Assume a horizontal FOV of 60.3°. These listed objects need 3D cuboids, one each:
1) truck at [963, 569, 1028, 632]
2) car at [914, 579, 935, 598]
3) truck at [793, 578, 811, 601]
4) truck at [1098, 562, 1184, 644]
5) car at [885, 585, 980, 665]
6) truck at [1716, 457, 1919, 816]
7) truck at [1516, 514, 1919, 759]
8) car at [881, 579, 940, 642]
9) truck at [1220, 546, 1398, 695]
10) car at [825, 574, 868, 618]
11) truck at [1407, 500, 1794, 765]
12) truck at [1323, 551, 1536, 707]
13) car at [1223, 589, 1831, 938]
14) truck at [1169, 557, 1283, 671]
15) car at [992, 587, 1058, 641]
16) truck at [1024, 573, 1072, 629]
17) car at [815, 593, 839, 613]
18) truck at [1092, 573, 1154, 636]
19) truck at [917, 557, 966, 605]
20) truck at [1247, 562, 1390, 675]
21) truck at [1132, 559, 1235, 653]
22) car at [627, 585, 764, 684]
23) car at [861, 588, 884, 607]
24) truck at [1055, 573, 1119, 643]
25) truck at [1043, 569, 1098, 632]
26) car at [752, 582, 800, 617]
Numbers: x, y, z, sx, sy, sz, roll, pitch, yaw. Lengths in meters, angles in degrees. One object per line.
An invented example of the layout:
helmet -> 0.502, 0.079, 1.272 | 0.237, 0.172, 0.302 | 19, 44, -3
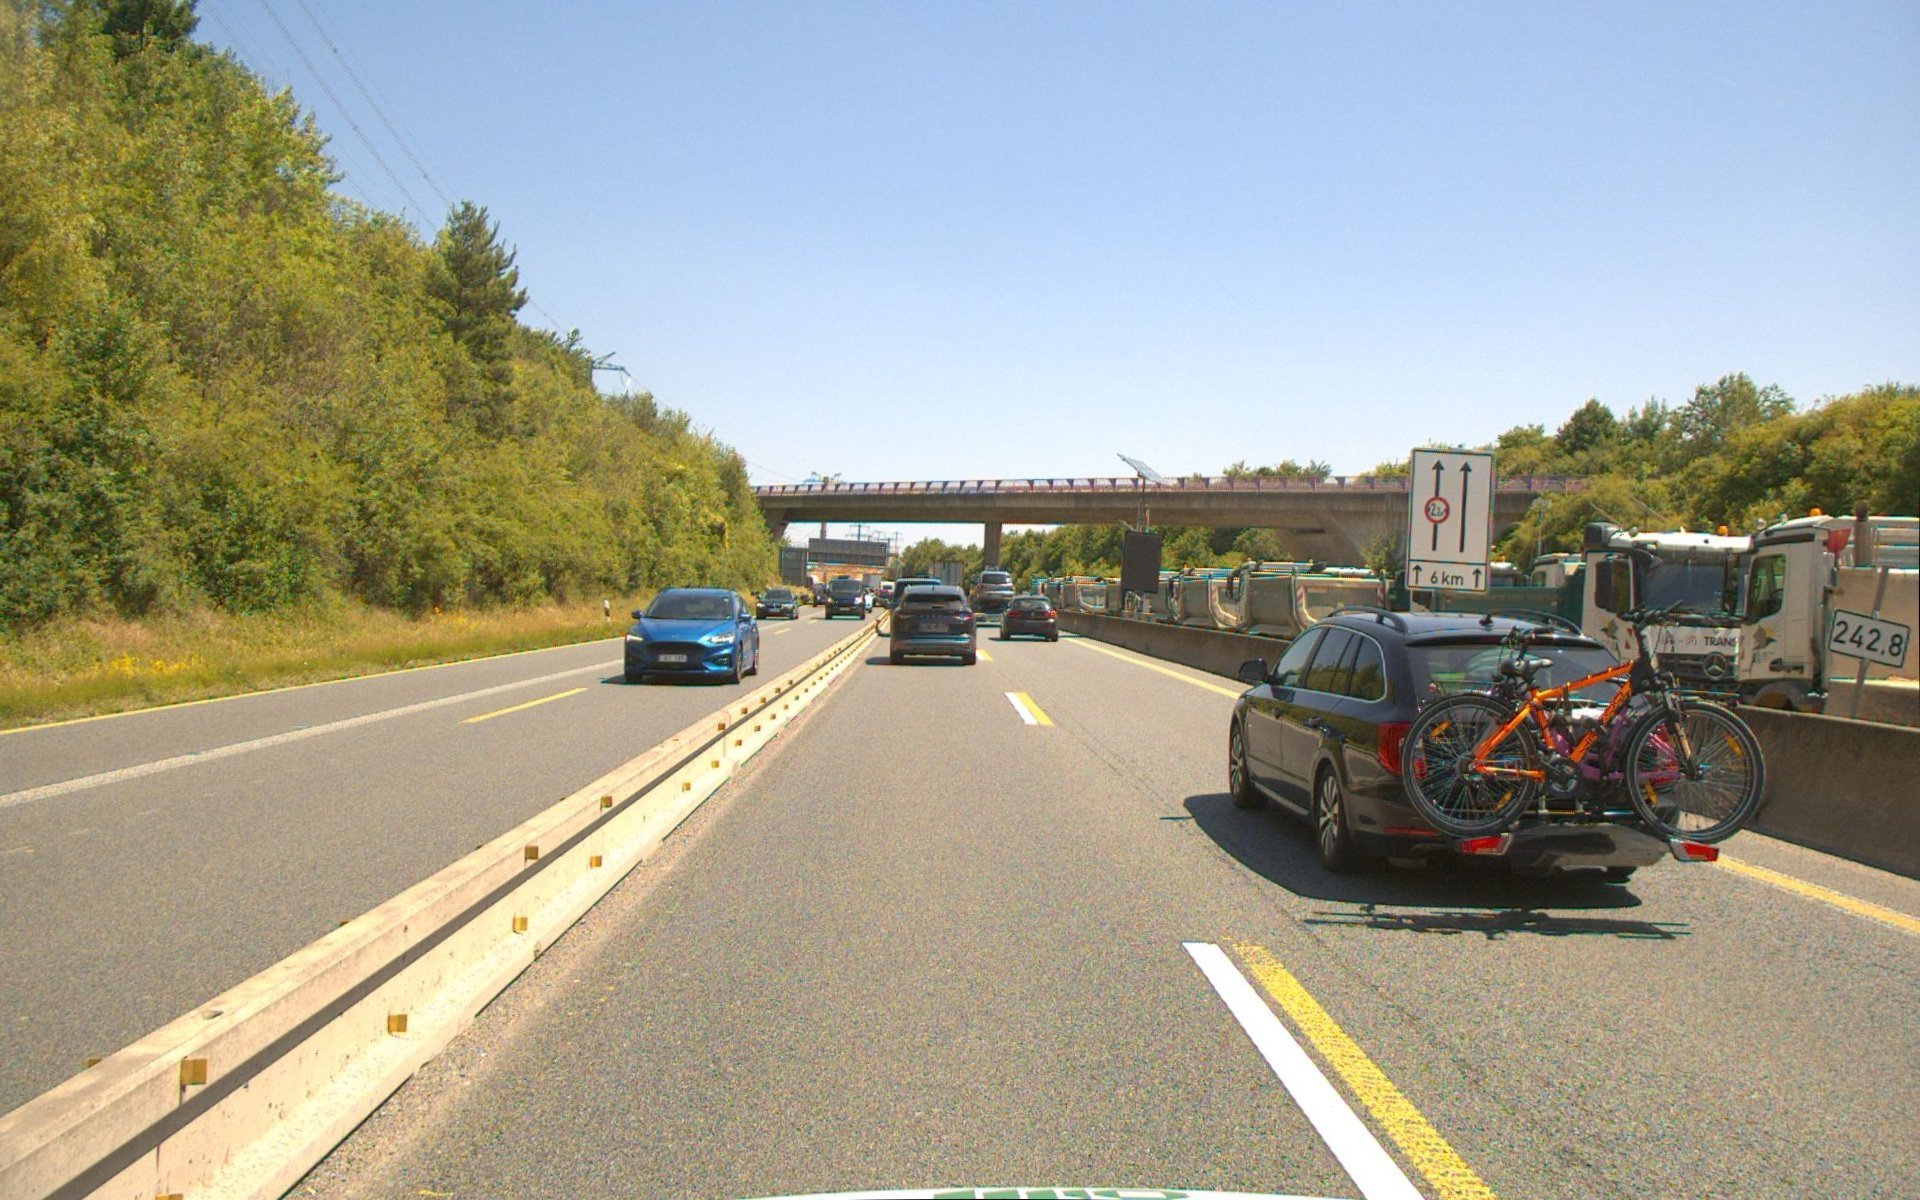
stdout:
truck -> 1.528, -0.023, 74.464 | 2.357, 2.603, 7.496 | 1, 1, -2
car -> -3.851, -1.270, 178.536 | 1.862, 2.003, 4.271 | 1, 0, -6
truck -> -23.471, -1.545, 245.729 | 2.460, 3.242, 10.096 | 1, 0, -6
truck -> 8.508, 0.100, 78.871 | 2.633, 3.619, 9.321 | 1, 0, -2
car -> -0.568, 0.497, 35.200 | 1.860, 1.531, 4.275 | 2, 0, -1
truck -> 10.808, 0.390, 16.164 | 2.482, 3.572, 8.941 | 1, 0, -2
truck -> 13.044, 0.525, 29.697 | 2.633, 3.619, 9.600 | 1, 0, -1
car -> -1.628, 0.342, 55.532 | 1.860, 2.003, 4.275 | 1, 0, -1
truck -> 9.436, 0.483, 45.914 | 2.633, 3.619, 9.600 | 1, 0, -1
car -> -5.679, -0.212, 83.075 | 1.852, 2.049, 4.817 | 2, 0, -1
truck -> 10.207, 0.422, 27.783 | 2.487, 3.619, 9.600 | 1, 0, -2
truck -> 12.143, 0.649, 43.883 | 2.633, 3.619, 9.600 | 1, 0, -2
car -> 2.939, 0.737, 9.879 | 1.860, 1.516, 4.946 | 2, 0, -1
truck -> 9.198, 0.431, 58.159 | 2.632, 3.619, 9.408 | 1, 0, 1
car -> 2.065, 0.425, 53.391 | 1.860, 1.613, 4.275 | 1, 0, -1
truck -> 6.386, 0.052, 121.212 | 2.633, 3.910, 9.321 | 1, 0, -2
car -> -10.694, 0.234, 133.625 | 1.665, 1.592, 3.994 | 2, 0, -1
truck -> 10.364, 0.238, 106.266 | 2.633, 3.792, 9.321 | 1, 0, -2
truck -> -1.697, -1.631, 143.447 | 3.229, 3.912, 10.096 | 1, 0, -6
truck -> 12.000, 0.555, 56.267 | 2.632, 3.437, 9.601 | 1, 0, -1
truck -> 9.249, 0.202, 69.522 | 2.633, 3.619, 9.321 | 1, 0, -2
car -> -4.237, 0.525, 27.045 | 1.678, 1.450, 4.168 | 2, 0, -2
car -> -7.648, -0.246, 145.137 | 1.806, 1.560, 4.670 | 3, 0, -1
truck -> 7.371, 0.414, 97.242 | 2.633, 3.826, 9.321 | 1, 0, -2
truck -> 7.184, -0.002, 108.803 | 2.633, 3.923, 9.321 | 1, 0, -2
car -> -8.664, -0.048, 78.223 | 1.757, 1.552, 4.530 | 2, 0, -1
